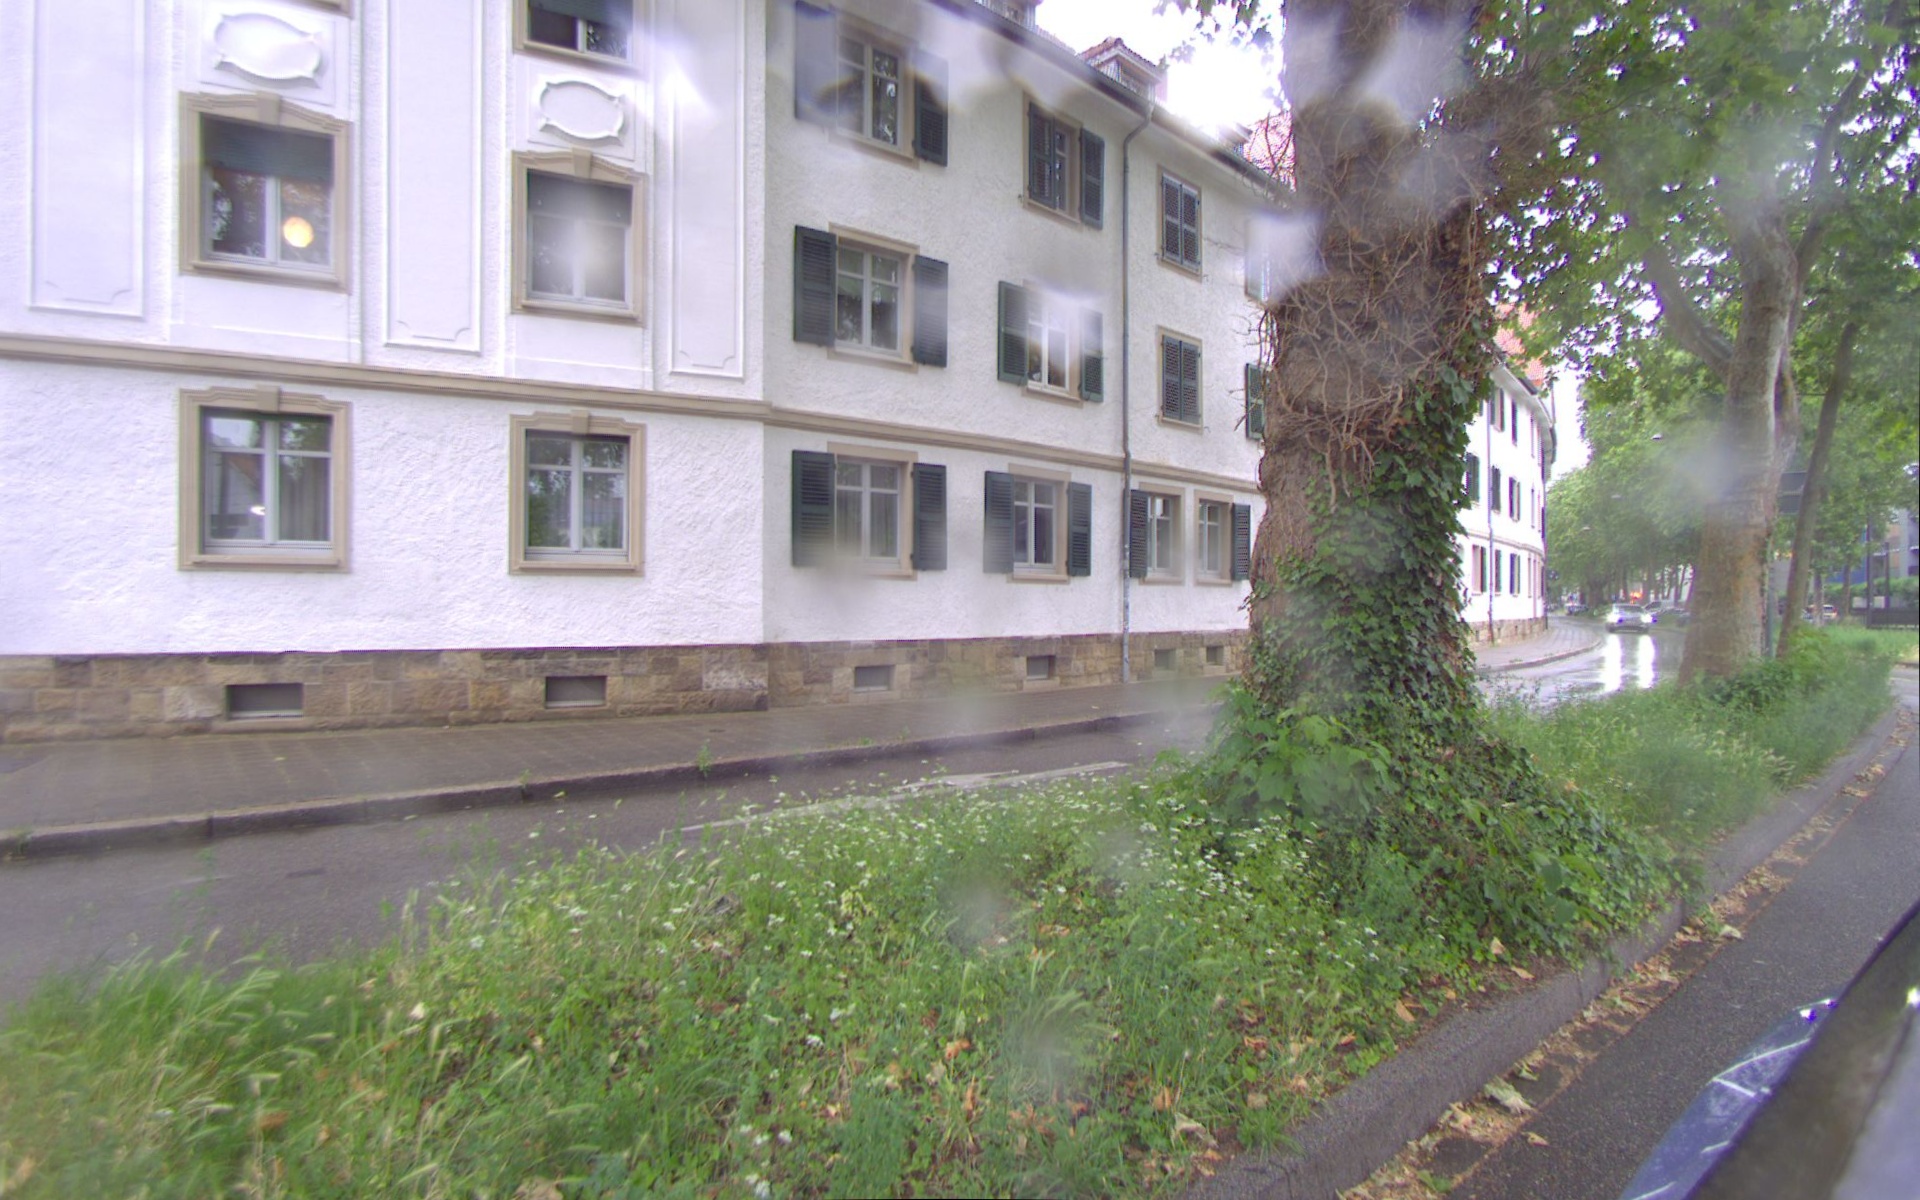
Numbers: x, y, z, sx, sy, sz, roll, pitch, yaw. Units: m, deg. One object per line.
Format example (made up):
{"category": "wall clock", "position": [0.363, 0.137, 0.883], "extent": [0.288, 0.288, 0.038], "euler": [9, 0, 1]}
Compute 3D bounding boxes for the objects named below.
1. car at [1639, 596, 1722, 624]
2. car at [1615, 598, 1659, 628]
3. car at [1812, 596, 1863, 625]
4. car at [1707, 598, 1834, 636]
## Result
{"category": "car", "position": [56.583, 0.768, 79.573], "extent": [1.960, 2.039, 4.899], "euler": [1, 1, -30]}
{"category": "car", "position": [37.804, 0.686, 56.579], "extent": [1.837, 1.616, 4.170], "euler": [1, 0, 31]}
{"category": "car", "position": [57.689, 0.668, 66.594], "extent": [1.677, 1.745, 3.655], "euler": [2, 1, 28]}
{"category": "car", "position": [37.814, 0.768, 47.321], "extent": [1.892, 1.560, 4.236], "euler": [1, 1, -30]}
